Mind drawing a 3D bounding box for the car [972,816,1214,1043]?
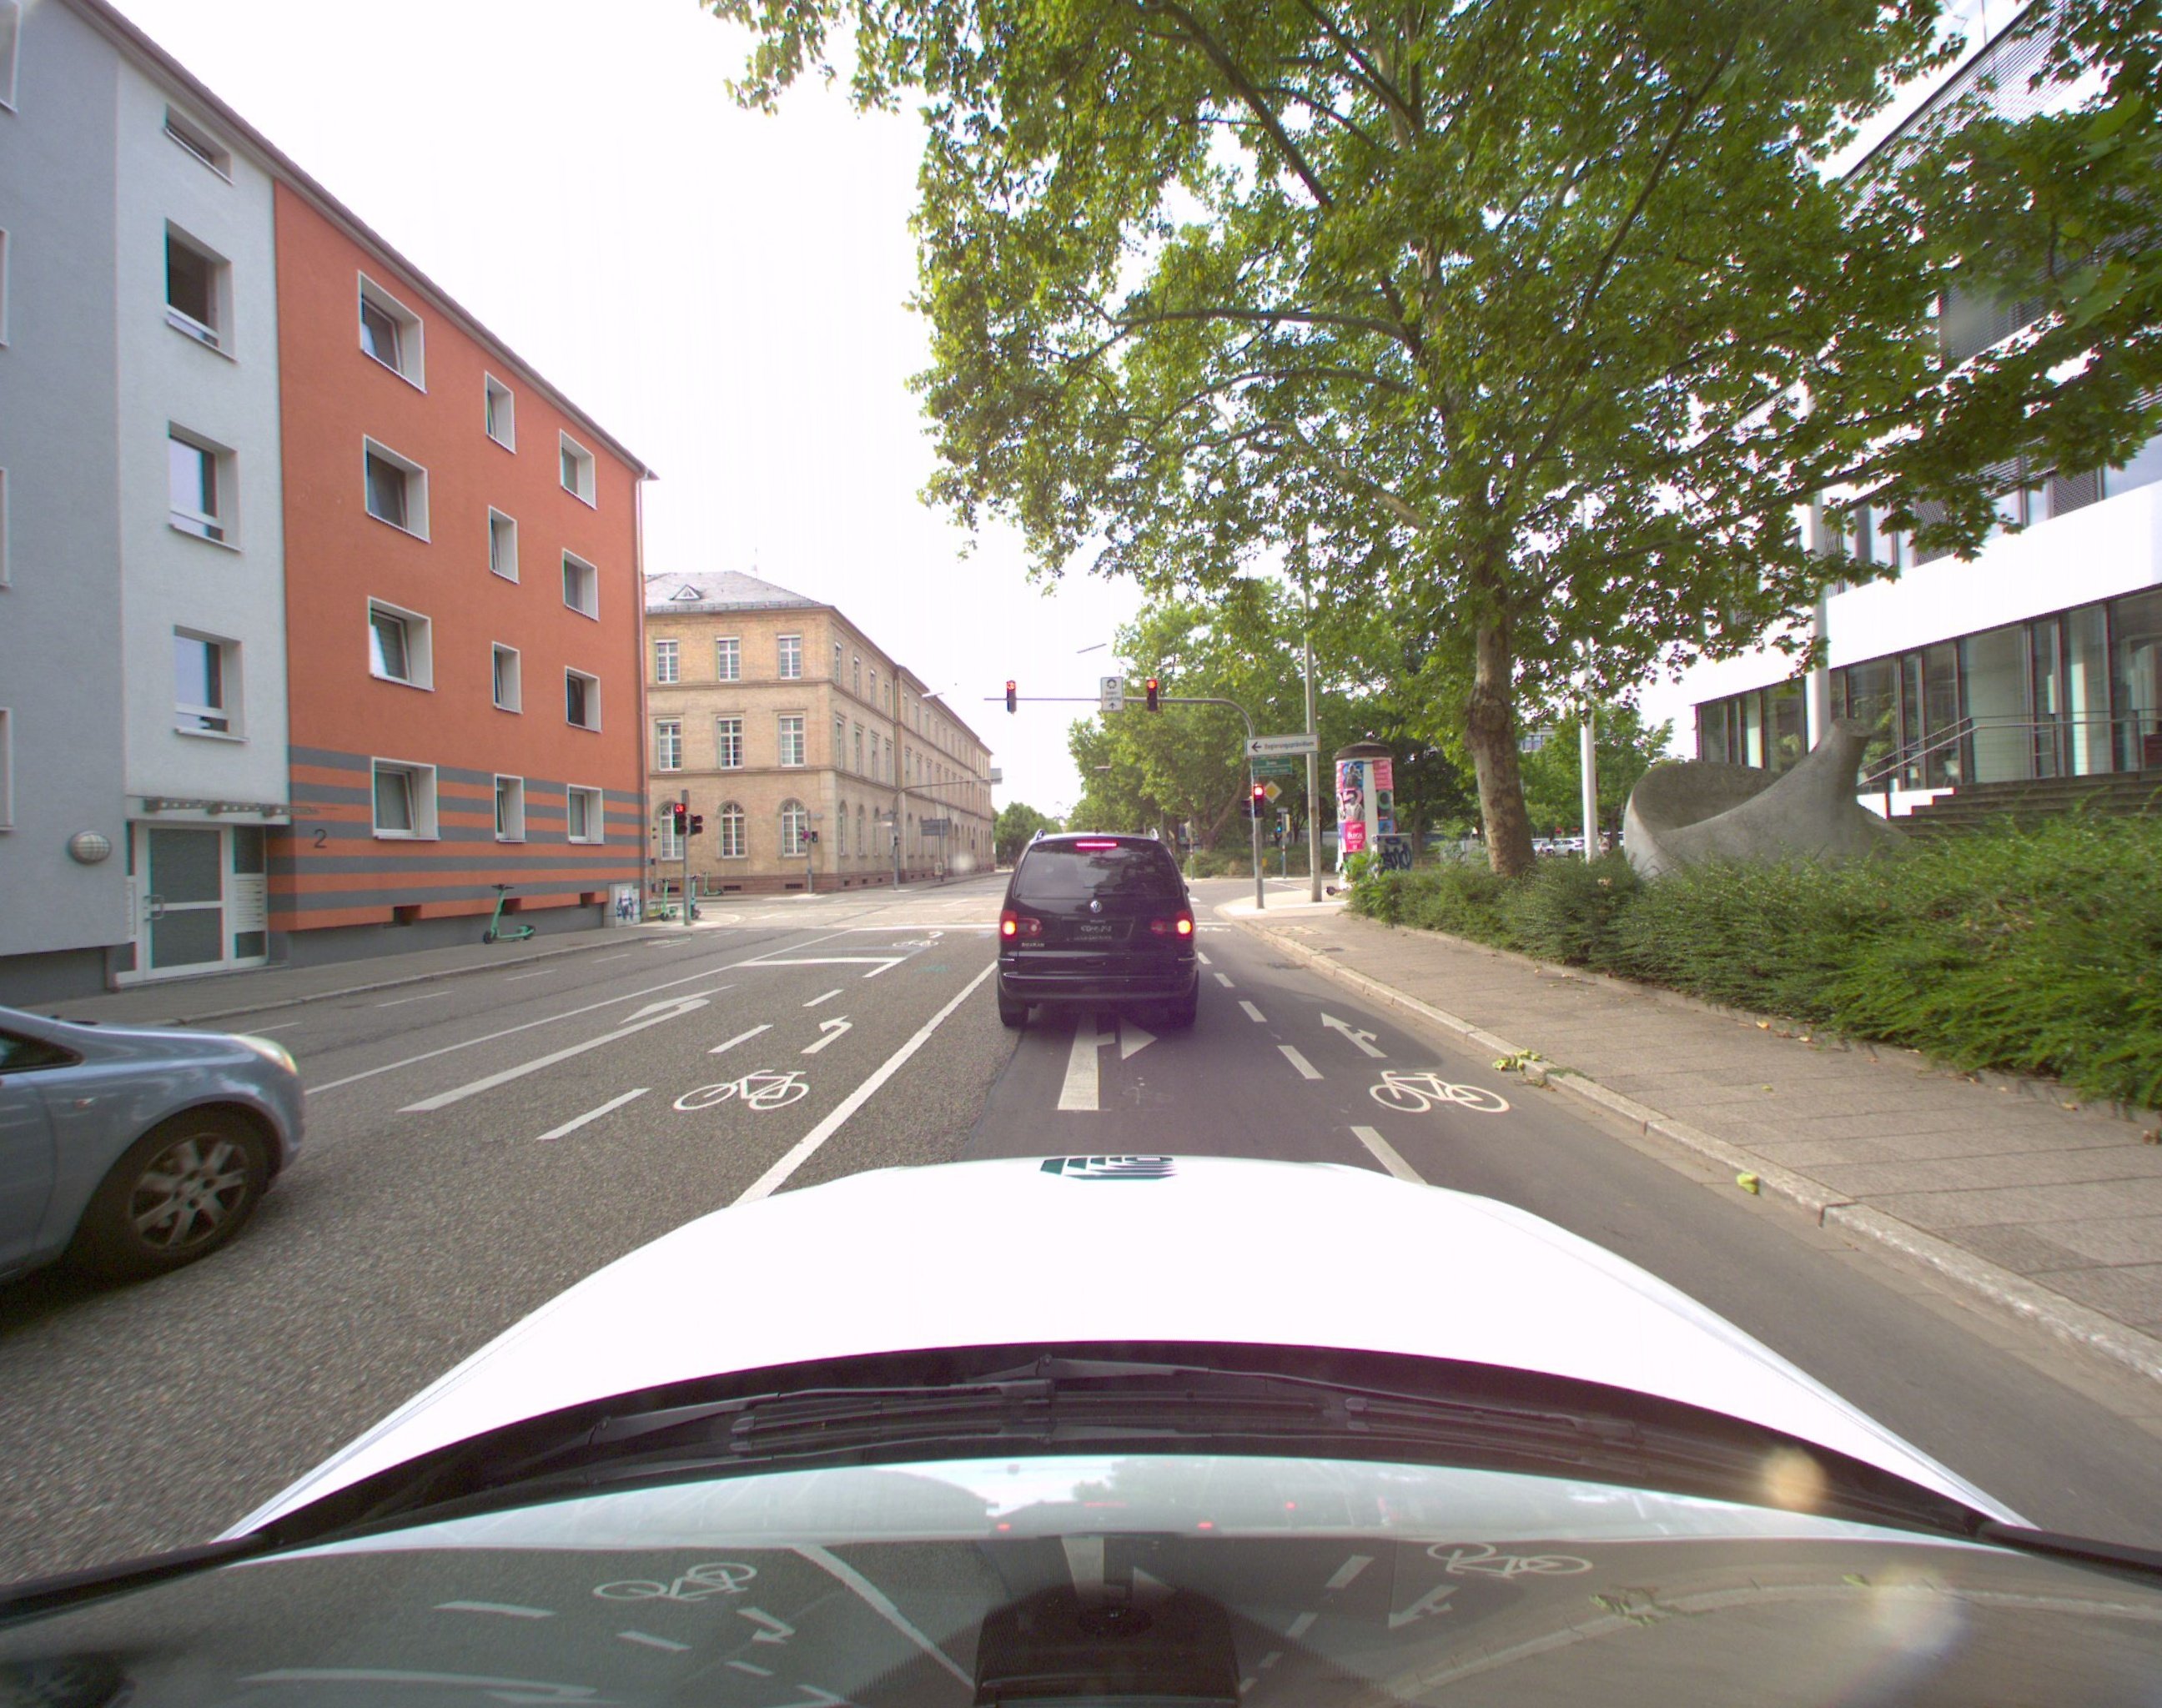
[{"bbox_3d":[0.235,0.591,8.708,1.866,1.745,4.578,-2,0,4],"label":"car"}]

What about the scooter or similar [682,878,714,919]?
[{"bbox_3d":[-10.952,1.259,23.303,0.377,1.144,1.141,-2,-2,-2],"label":"scooter or similar"}]

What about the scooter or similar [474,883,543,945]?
[{"bbox_3d":[-11.602,1.185,16.553,0.376,1.184,1.390,-2,-2,2],"label":"scooter or similar"}]

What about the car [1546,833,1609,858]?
[{"bbox_3d":[35.376,-0.584,58.176,1.955,1.651,4.152,-2,0,0],"label":"car"}]

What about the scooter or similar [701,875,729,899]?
[{"bbox_3d":[-17.198,1.547,38.271,1.134,1.049,0.379,-2,-2,1],"label":"scooter or similar"}]

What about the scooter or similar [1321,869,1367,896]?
[{"bbox_3d":[7.625,0.819,23.639,1.214,0.736,0.369,-2,0,1],"label":"scooter or similar"}]

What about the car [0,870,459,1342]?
[{"bbox_3d":[-4.232,0.849,2.209,1.707,1.420,4.253,-3,0,1],"label":"car"}]

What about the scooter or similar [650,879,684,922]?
[{"bbox_3d":[-11.558,1.279,22.771,0.377,1.147,1.141,-2,-2,-2],"label":"scooter or similar"}]

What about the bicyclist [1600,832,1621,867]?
[{"bbox_3d":[24.876,-0.194,38.249,0.567,1.618,0.536,-2,0,1],"label":"bicyclist"}]
